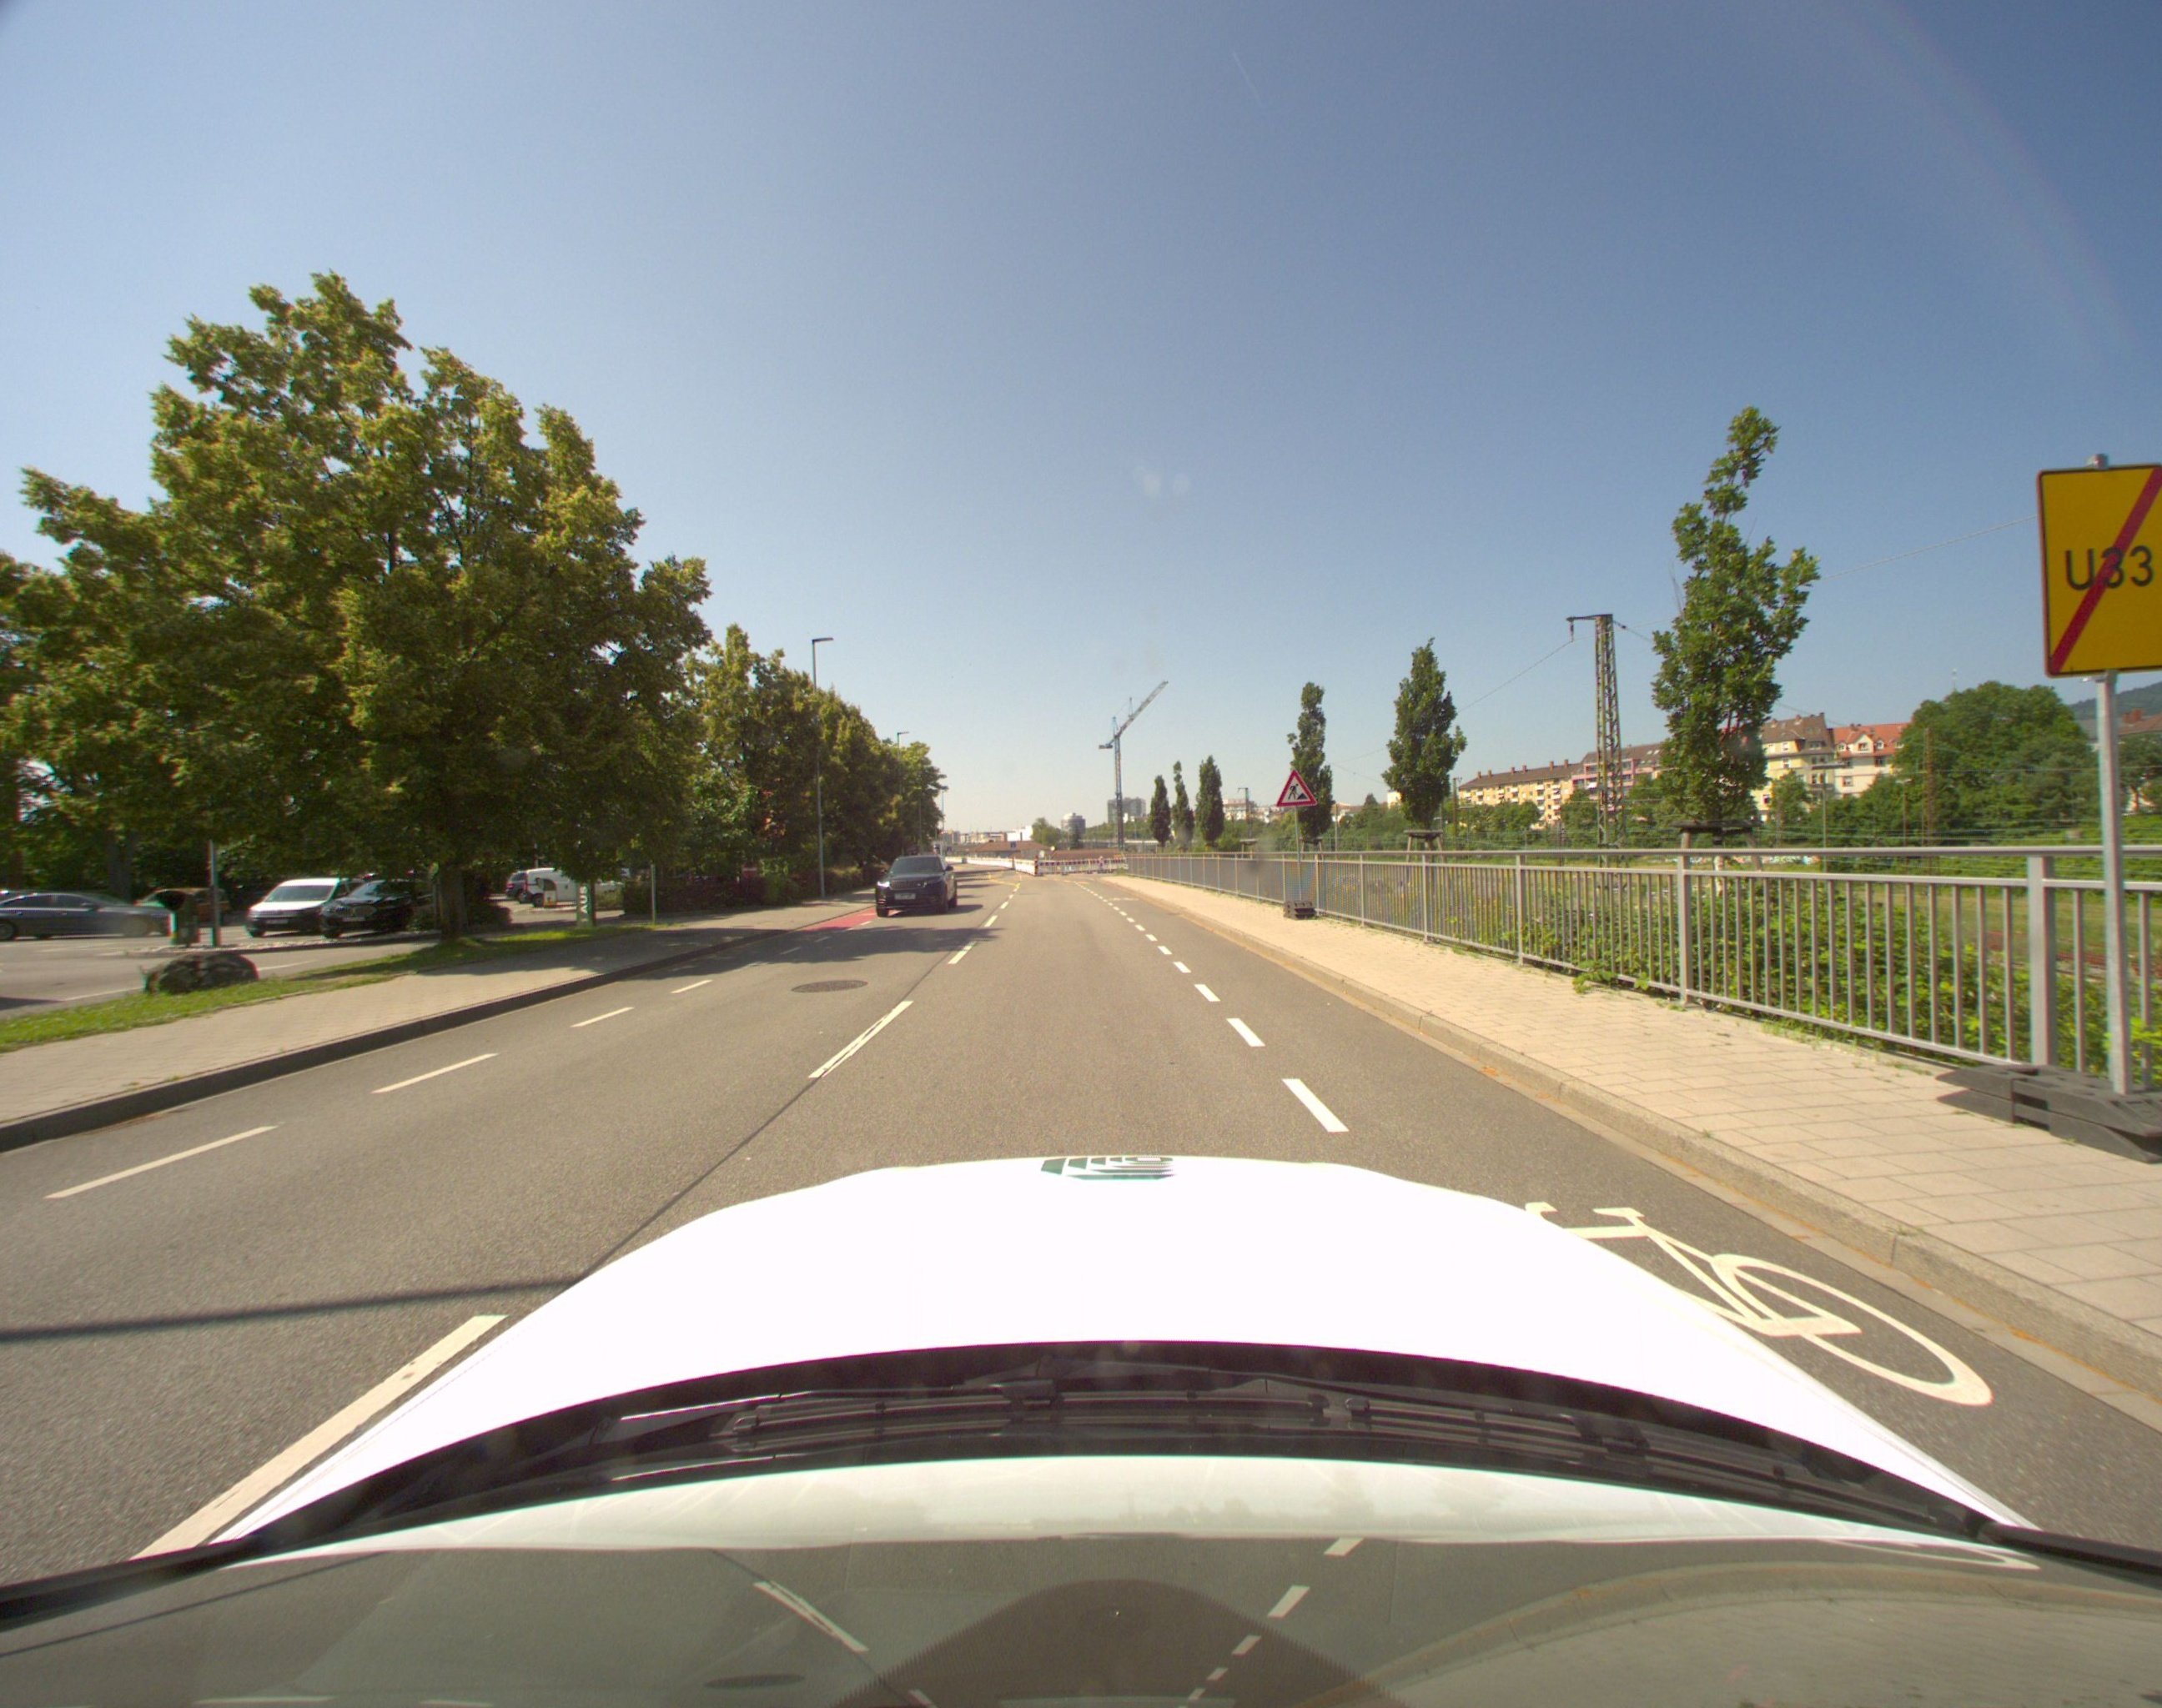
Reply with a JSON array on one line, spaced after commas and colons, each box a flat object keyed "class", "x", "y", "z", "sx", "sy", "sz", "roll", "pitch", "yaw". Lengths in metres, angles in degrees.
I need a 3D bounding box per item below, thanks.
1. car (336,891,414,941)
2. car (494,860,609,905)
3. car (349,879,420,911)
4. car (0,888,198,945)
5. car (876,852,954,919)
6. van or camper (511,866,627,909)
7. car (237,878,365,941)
[{"class": "car", "x": -22.202, "y": 1.901, "z": 25.723, "sx": 1.616, "sy": 1.285, "sz": 3.954, "roll": -3, "pitch": 1, "yaw": -38}, {"class": "car", "x": -27.678, "y": 1.451, "z": 42.811, "sx": 4.757, "sy": 2.013, "sz": 2.067, "roll": -3, "pitch": 0, "yaw": -26}, {"class": "car", "x": -36.242, "y": 2.142, "z": 42.390, "sx": 3.390, "sy": 1.526, "sz": 1.511, "roll": -2, "pitch": 0, "yaw": 25}, {"class": "car", "x": -31.383, "y": 1.947, "z": 25.623, "sx": 4.403, "sy": 1.438, "sz": 1.982, "roll": -3, "pitch": 0, "yaw": -27}, {"class": "car", "x": -4.801, "y": 0.826, "z": 24.073, "sx": 1.949, "sy": 1.695, "sz": 4.599, "roll": -2, "pitch": 0, "yaw": -9}, {"class": "van or camper", "x": -24.289, "y": 1.575, "z": 38.806, "sx": 4.287, "sy": 1.740, "sz": 1.986, "roll": -3, "pitch": 0, "yaw": -21}, {"class": "car", "x": -25.297, "y": 1.725, "z": 26.598, "sx": 1.721, "sy": 1.735, "sz": 4.212, "roll": -3, "pitch": 0, "yaw": -26}]
